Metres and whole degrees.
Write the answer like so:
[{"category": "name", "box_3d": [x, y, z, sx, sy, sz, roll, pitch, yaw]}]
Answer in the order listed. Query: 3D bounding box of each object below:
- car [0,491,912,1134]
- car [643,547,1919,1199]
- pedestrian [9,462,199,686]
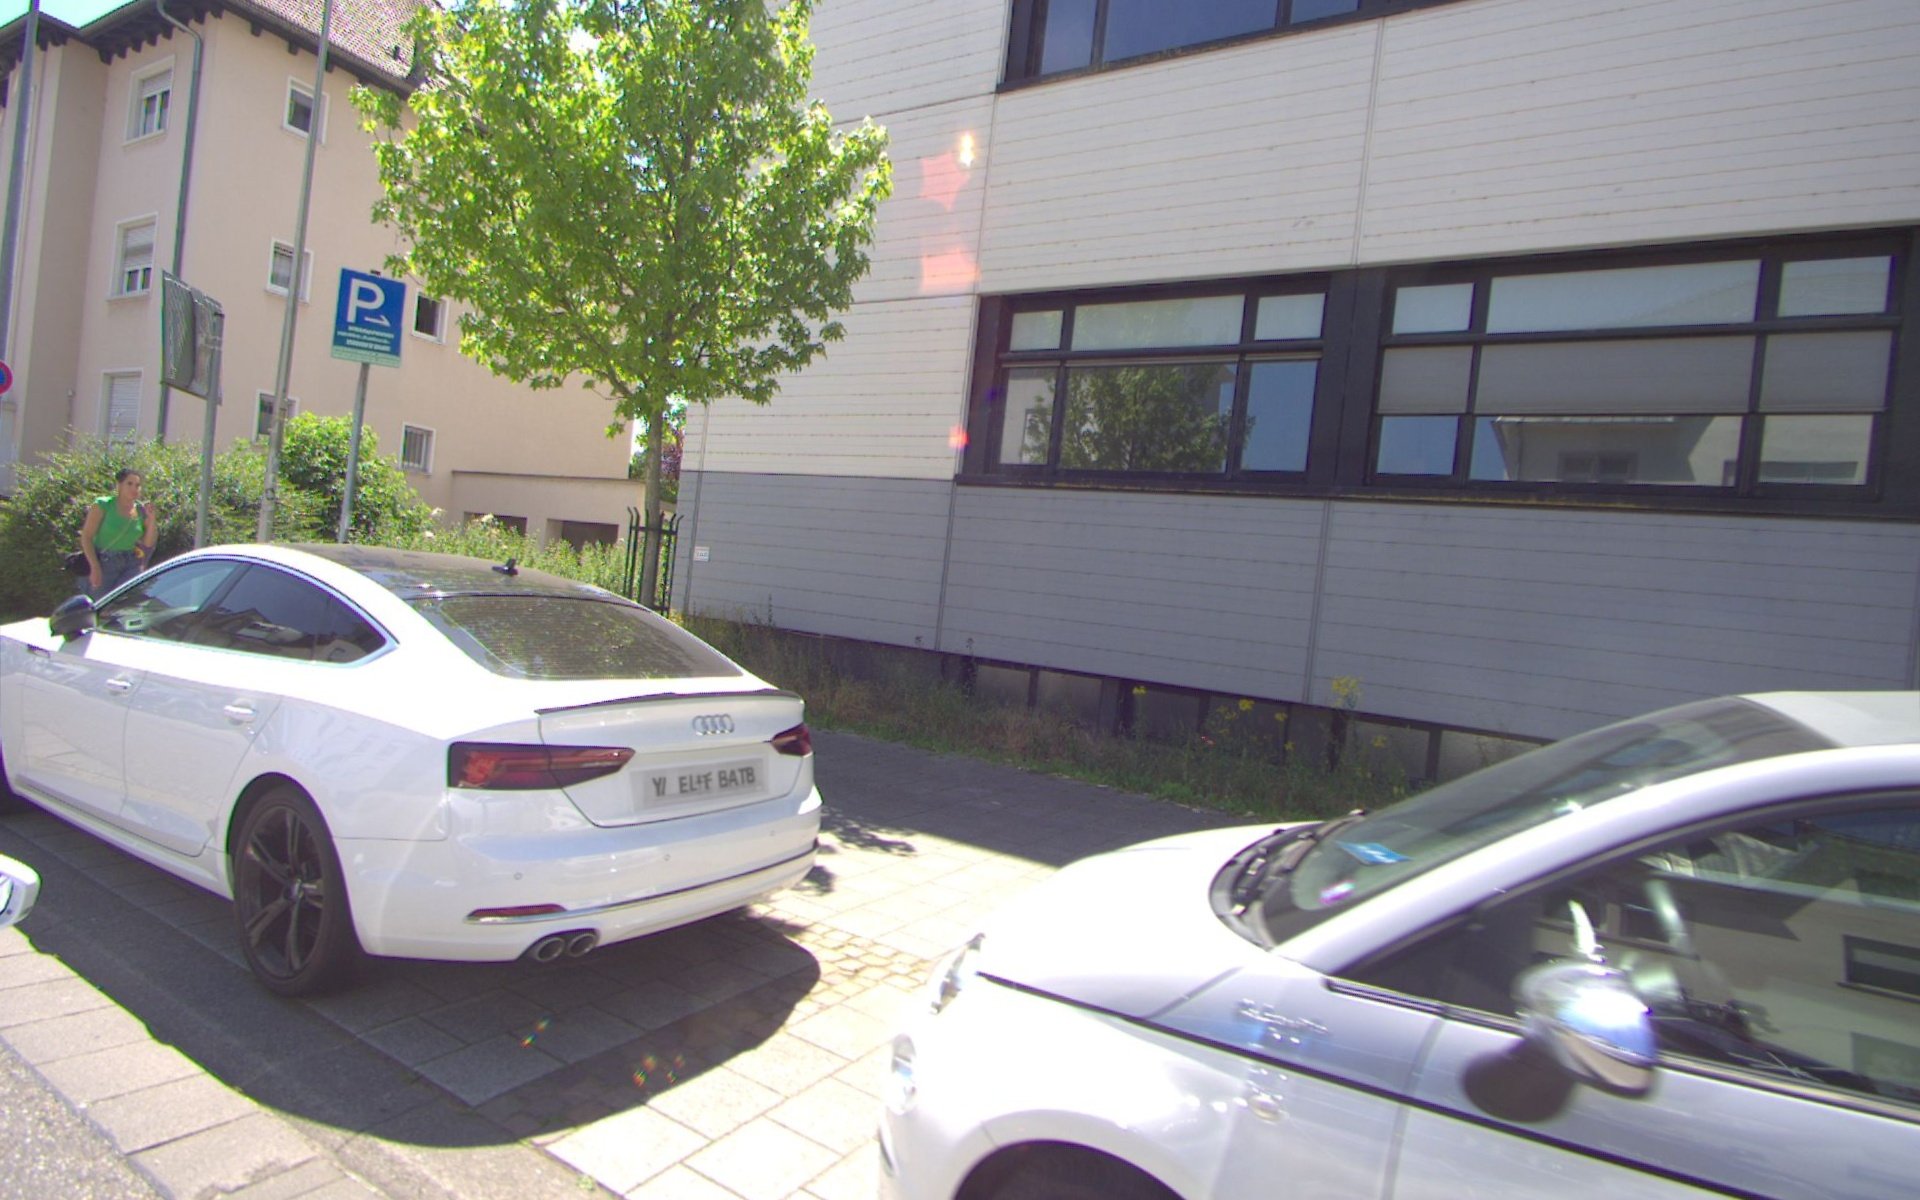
[{"category": "car", "box_3d": [-2.796, 0.427, 4.586, 4.799, 1.488, 1.917, 7, 1, 31]}, {"category": "car", "box_3d": [1.461, 0.876, 1.764, 3.813, 1.517, 1.711, 7, 1, 32]}, {"category": "pedestrian", "box_3d": [-7.168, -0.218, 8.442, 1.030, 1.722, 0.681, 6, 2, 15]}]
